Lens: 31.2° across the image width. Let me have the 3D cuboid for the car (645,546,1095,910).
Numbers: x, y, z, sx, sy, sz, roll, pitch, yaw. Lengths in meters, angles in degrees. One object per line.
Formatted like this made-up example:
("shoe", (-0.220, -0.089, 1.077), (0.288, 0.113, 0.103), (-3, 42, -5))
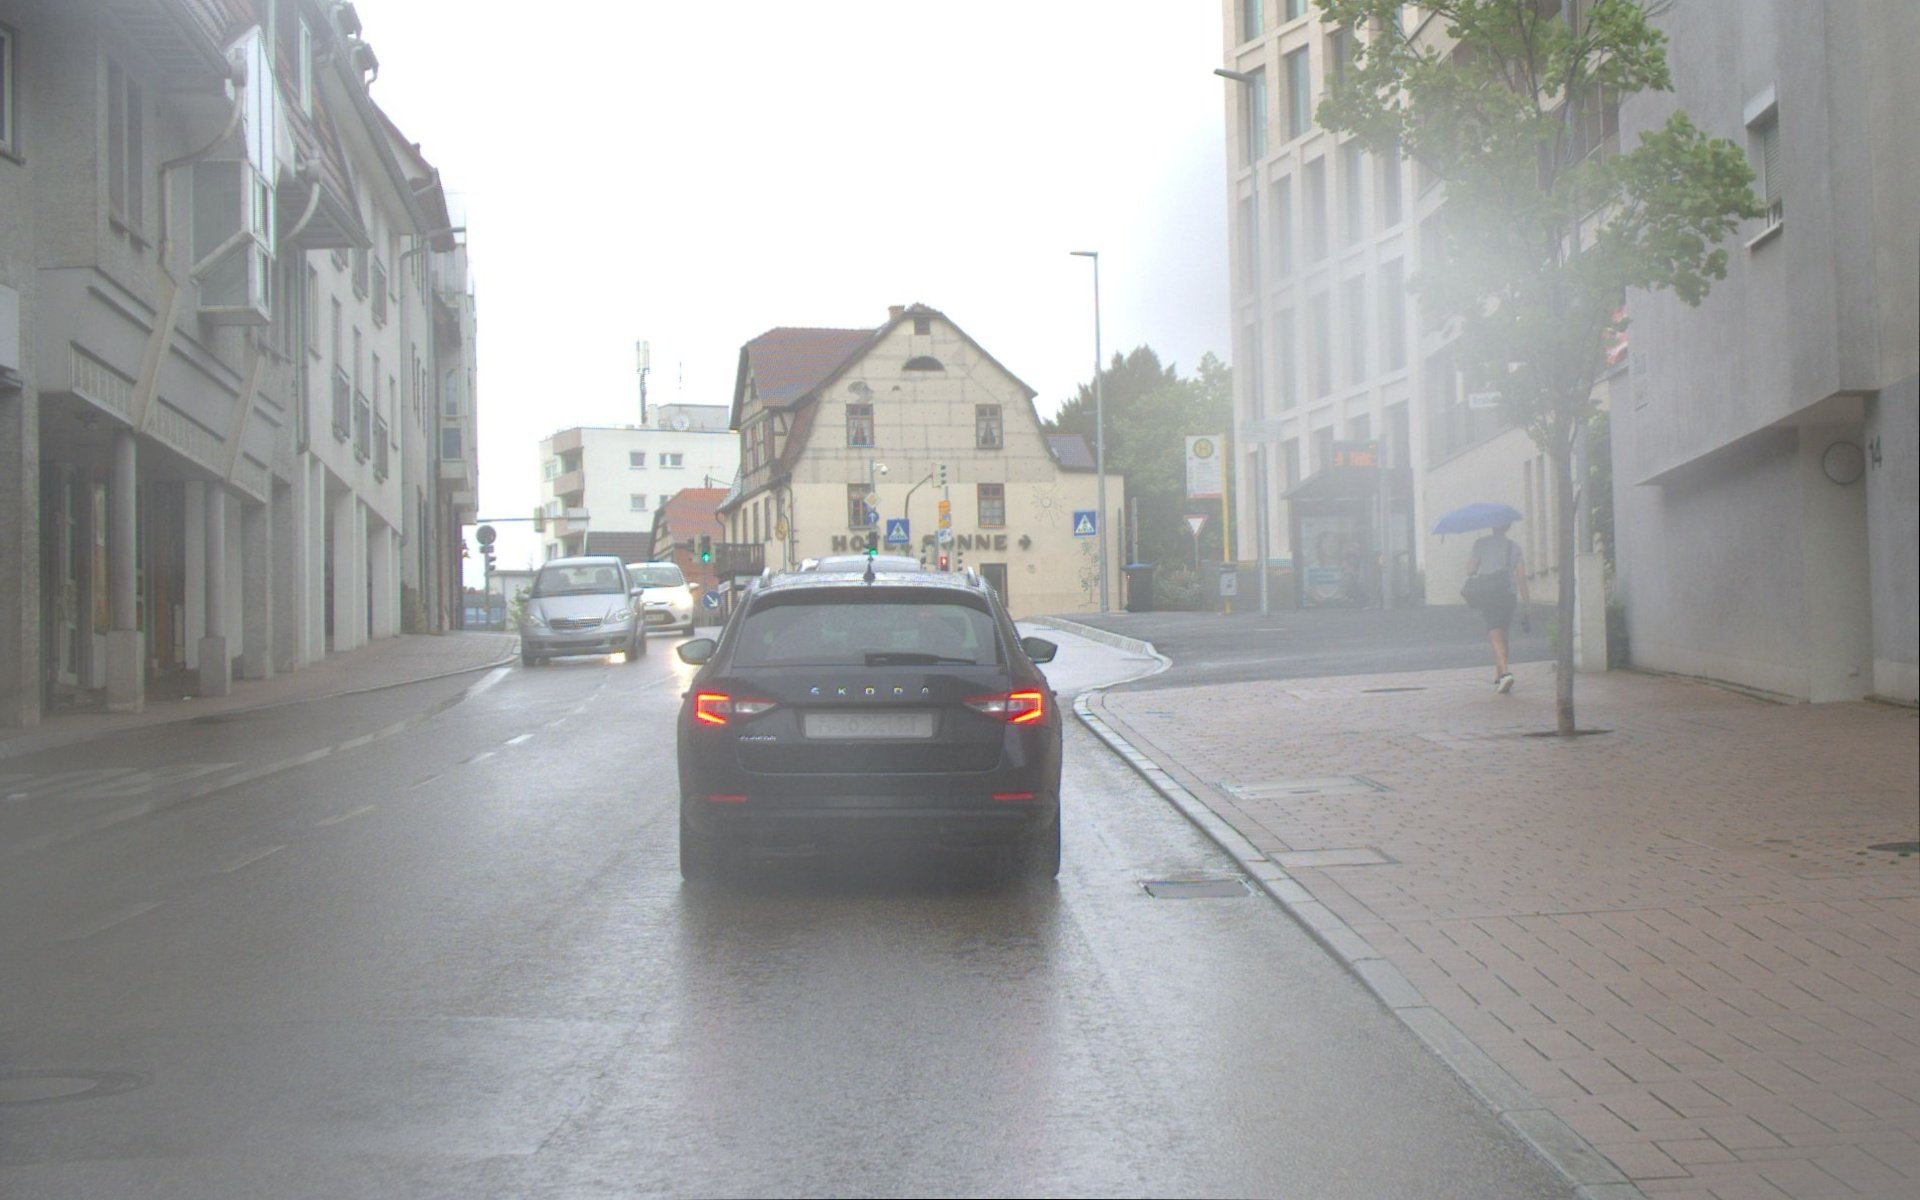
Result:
("car", (-0.446, 0.535, 17.254), (1.944, 1.561, 4.417), (-1, 1, -1))

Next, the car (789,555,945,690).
("car", (-1.140, 0.235, 40.769), (1.677, 1.505, 3.589), (-1, 1, -4))

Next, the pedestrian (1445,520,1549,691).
("pedestrian", (5.052, 0.048, 32.414), (0.736, 1.537, 1.038), (-4, 0, 2))

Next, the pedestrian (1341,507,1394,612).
("pedestrian", (7.722, -0.769, 65.130), (0.782, 1.933, 1.021), (-3, 0, -1))

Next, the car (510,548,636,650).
("car", (-5.995, -0.034, 53.541), (1.677, 1.505, 3.589), (-1, 1, -2))

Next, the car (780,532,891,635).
("car", (-1.997, -0.278, 55.604), (1.680, 1.555, 4.000), (-2, 1, -2))

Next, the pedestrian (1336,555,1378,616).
("pedestrian", (7.689, -0.284, 66.531), (0.672, 1.158, 0.635), (-3, 0, -1))

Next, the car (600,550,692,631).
("car", (-6.116, -0.206, 67.272), (1.677, 1.505, 3.589), (-1, 1, -4))

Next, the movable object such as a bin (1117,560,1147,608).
("movable object such as a bin", (3.876, -0.353, 77.523), (0.595, 1.058, 0.579), (-2, 0, -2))
